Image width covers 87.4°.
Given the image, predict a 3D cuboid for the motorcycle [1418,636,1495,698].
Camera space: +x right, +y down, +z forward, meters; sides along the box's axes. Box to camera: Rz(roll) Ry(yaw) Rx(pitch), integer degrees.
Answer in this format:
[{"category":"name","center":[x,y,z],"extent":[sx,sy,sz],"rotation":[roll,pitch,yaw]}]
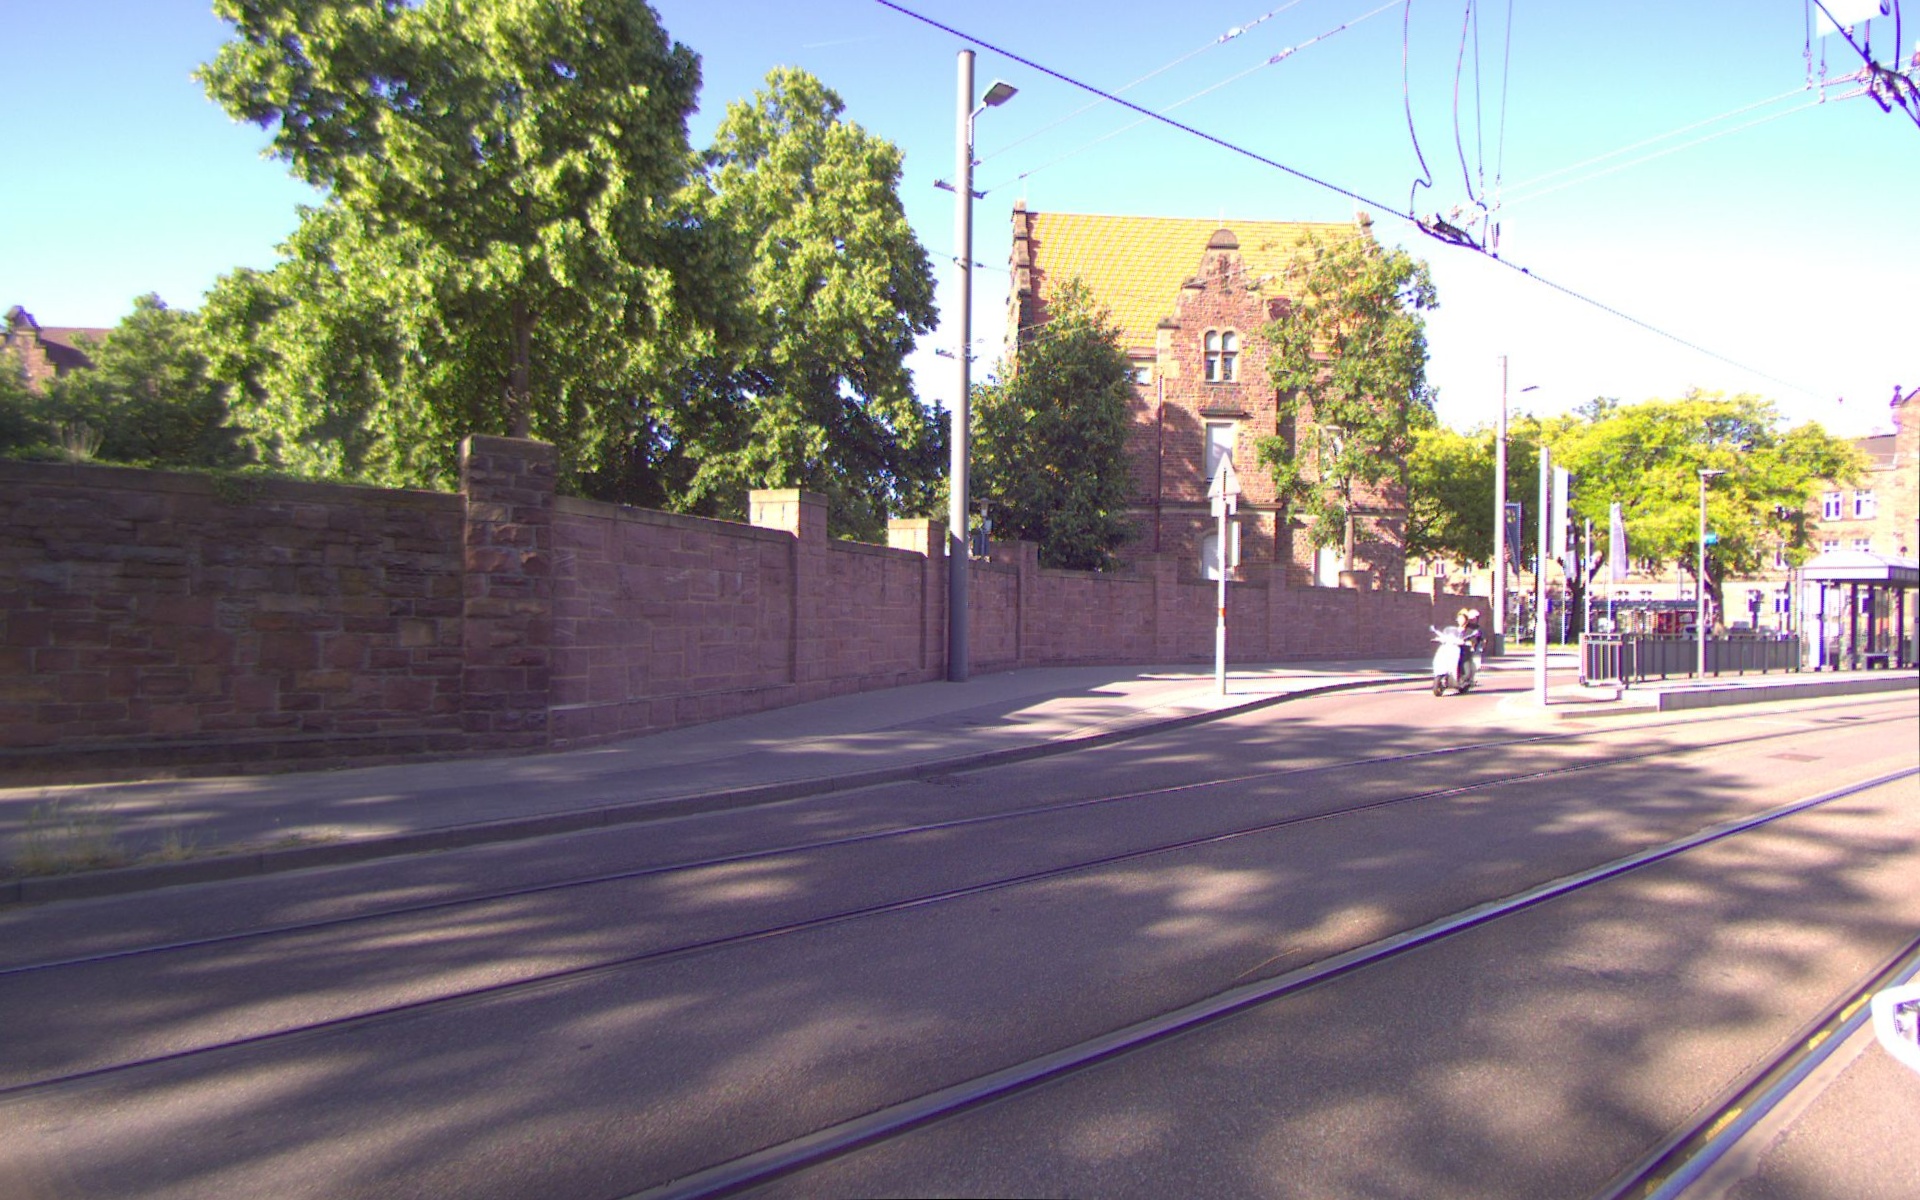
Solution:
[{"category":"motorcycle","center":[9.438,1.242,19.058],"extent":[1.841,1.108,0.604],"rotation":[1,0,-39]}]

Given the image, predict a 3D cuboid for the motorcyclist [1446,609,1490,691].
[{"category":"motorcyclist","center":[9.786,0.952,19.343],"extent":[0.462,1.536,0.601],"rotation":[1,0,-39]}]

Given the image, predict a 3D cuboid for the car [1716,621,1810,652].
[{"category":"car","center":[47.754,2.167,59.794],"extent":[1.798,1.651,3.964],"rotation":[2,0,-32]}]

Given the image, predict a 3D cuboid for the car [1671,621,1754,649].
[{"category":"car","center":[49.179,2.250,65.677],"extent":[1.798,1.651,3.964],"rotation":[2,0,-32]}]

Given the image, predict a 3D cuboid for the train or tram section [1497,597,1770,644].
[{"category":"train or tram section","center":[50.030,1.467,75.882],"extent":[3.312,3.196,17.280],"rotation":[2,-1,-33]}]

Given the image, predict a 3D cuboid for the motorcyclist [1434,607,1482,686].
[{"category":"motorcyclist","center":[9.434,0.865,19.044],"extent":[0.442,1.460,0.678],"rotation":[1,0,-39]}]
